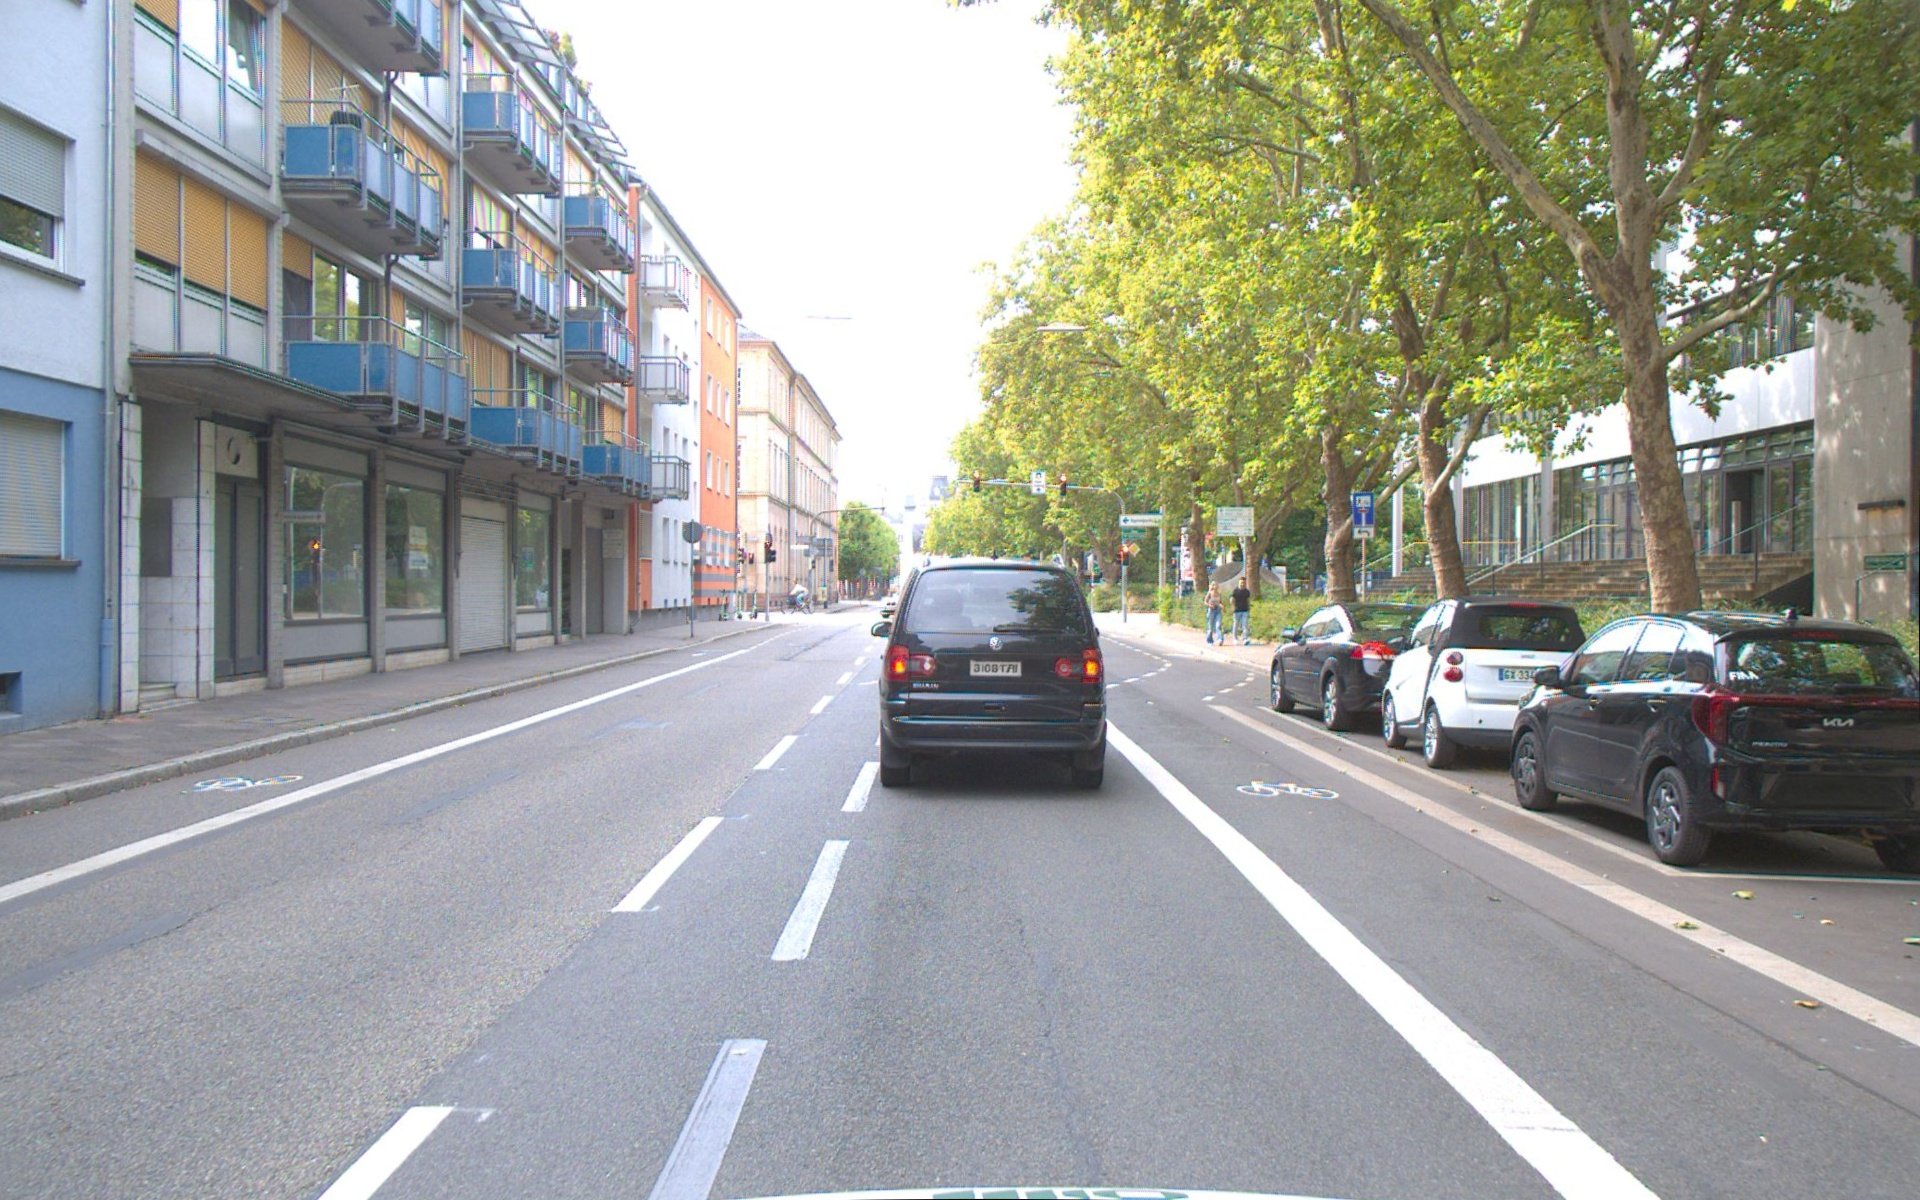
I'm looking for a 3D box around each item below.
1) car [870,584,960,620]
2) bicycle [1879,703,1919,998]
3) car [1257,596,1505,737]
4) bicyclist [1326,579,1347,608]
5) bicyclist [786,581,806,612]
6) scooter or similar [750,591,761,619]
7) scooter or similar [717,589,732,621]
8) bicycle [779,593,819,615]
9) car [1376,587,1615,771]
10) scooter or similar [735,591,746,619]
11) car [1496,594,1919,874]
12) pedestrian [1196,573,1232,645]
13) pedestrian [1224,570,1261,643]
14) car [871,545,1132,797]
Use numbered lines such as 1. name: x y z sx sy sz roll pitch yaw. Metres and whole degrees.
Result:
1. car: -1.982 0.078 73.260 1.730 1.452 4.078 -1 1 40
2. bicycle: 4.567 0.997 6.512 1.704 1.125 0.551 1 0 -12
3. car: 4.937 0.713 20.039 1.664 1.450 4.420 2 0 -3
4. bicyclist: 19.434 -0.345 85.415 0.896 1.519 0.626 0 0 -4
5. bicyclist: -8.188 -0.176 82.702 0.898 1.491 0.568 1 0 -13
6. scooter or similar: -8.631 0.236 69.861 0.370 1.164 1.141 0 -1 -4
7. scooter or similar: -9.000 0.205 63.136 0.370 1.204 1.389 0 -1 0
8. bicycle: -8.061 0.218 82.738 1.891 1.046 0.581 1 0 -14
9. car: 5.048 0.685 15.886 1.504 1.570 2.600 2 0 2
10. scooter or similar: -9.205 0.224 69.350 0.370 1.167 1.141 0 -1 -4
11. car: 4.967 0.751 11.119 1.497 1.528 3.660 2 0 0
12. pedestrian: 6.536 0.224 42.571 0.696 1.814 1.033 -2 0 -2
13. pedestrian: 7.243 0.163 42.494 0.700 1.831 1.033 -2 0 -2
14. car: 0.255 0.481 14.014 1.836 1.775 4.573 0 1 -1
